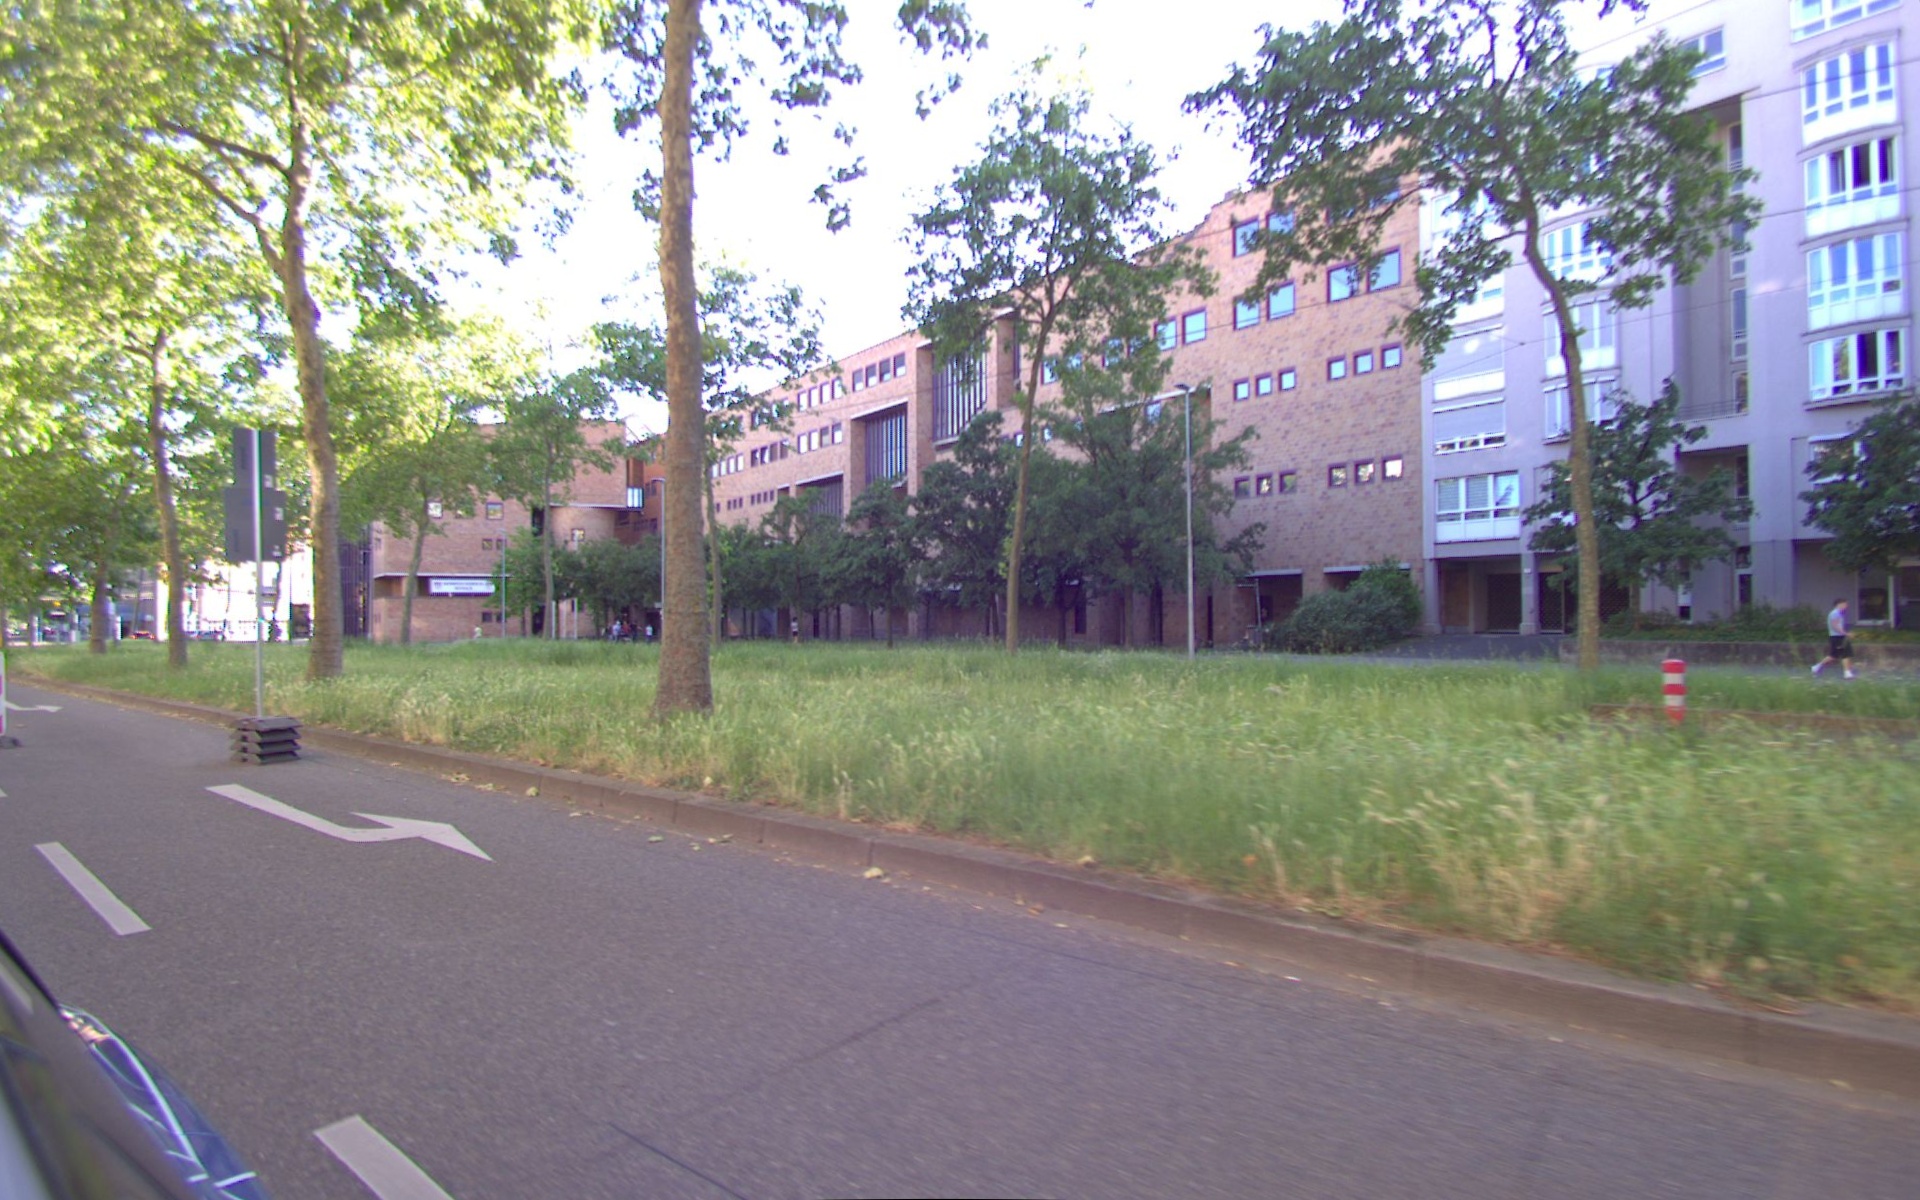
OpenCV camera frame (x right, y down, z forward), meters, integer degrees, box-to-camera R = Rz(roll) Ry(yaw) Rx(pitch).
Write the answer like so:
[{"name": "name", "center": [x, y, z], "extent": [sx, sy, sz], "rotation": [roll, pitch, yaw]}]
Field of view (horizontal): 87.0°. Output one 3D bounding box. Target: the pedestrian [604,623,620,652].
[{"name": "pedestrian", "center": [-21.316, 2.304, 62.016], "extent": [0.796, 1.735, 0.657], "rotation": [-2, -2, 41]}]

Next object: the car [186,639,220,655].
[{"name": "car", "center": [-69.486, 4.333, 92.882], "extent": [4.147, 1.440, 1.653], "rotation": [-2, -2, 41]}]

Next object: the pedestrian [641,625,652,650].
[{"name": "pedestrian", "center": [-19.509, 2.331, 62.986], "extent": [0.477, 1.517, 0.464], "rotation": [1, -2, -42]}]

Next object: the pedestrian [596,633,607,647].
[{"name": "pedestrian", "center": [-30.388, 3.397, 85.853], "extent": [0.628, 1.207, 0.659], "rotation": [-2, -2, 32]}]

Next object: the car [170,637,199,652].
[{"name": "car", "center": [-74.258, 4.255, 96.883], "extent": [3.219, 1.440, 1.596], "rotation": [-2, -2, 41]}]

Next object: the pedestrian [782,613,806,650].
[{"name": "pedestrian", "center": [-8.485, 1.623, 51.766], "extent": [0.895, 1.845, 0.820], "rotation": [-2, -2, 22]}]

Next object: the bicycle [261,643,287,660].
[{"name": "bicycle", "center": [-47.854, 3.596, 70.557], "extent": [2.436, 1.134, 0.946], "rotation": [-1, -2, 42]}]

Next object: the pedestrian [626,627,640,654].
[{"name": "pedestrian", "center": [-20.356, 2.521, 62.959], "extent": [0.596, 1.692, 0.604], "rotation": [-2, -2, 41]}]

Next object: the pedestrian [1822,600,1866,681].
[{"name": "pedestrian", "center": [19.515, 0.884, 22.343], "extent": [0.720, 1.753, 0.648], "rotation": [1, -2, -45]}]

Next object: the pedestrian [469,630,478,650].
[{"name": "pedestrian", "center": [-36.715, 3.025, 76.378], "extent": [0.652, 1.555, 0.412], "rotation": [-2, -2, 39]}]

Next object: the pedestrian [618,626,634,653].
[{"name": "pedestrian", "center": [-20.553, 2.417, 62.344], "extent": [0.756, 1.629, 0.657], "rotation": [-2, -2, 41]}]

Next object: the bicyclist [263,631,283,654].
[{"name": "bicyclist", "center": [-48.032, 2.963, 70.735], "extent": [1.209, 1.583, 0.931], "rotation": [-2, -2, 42]}]
